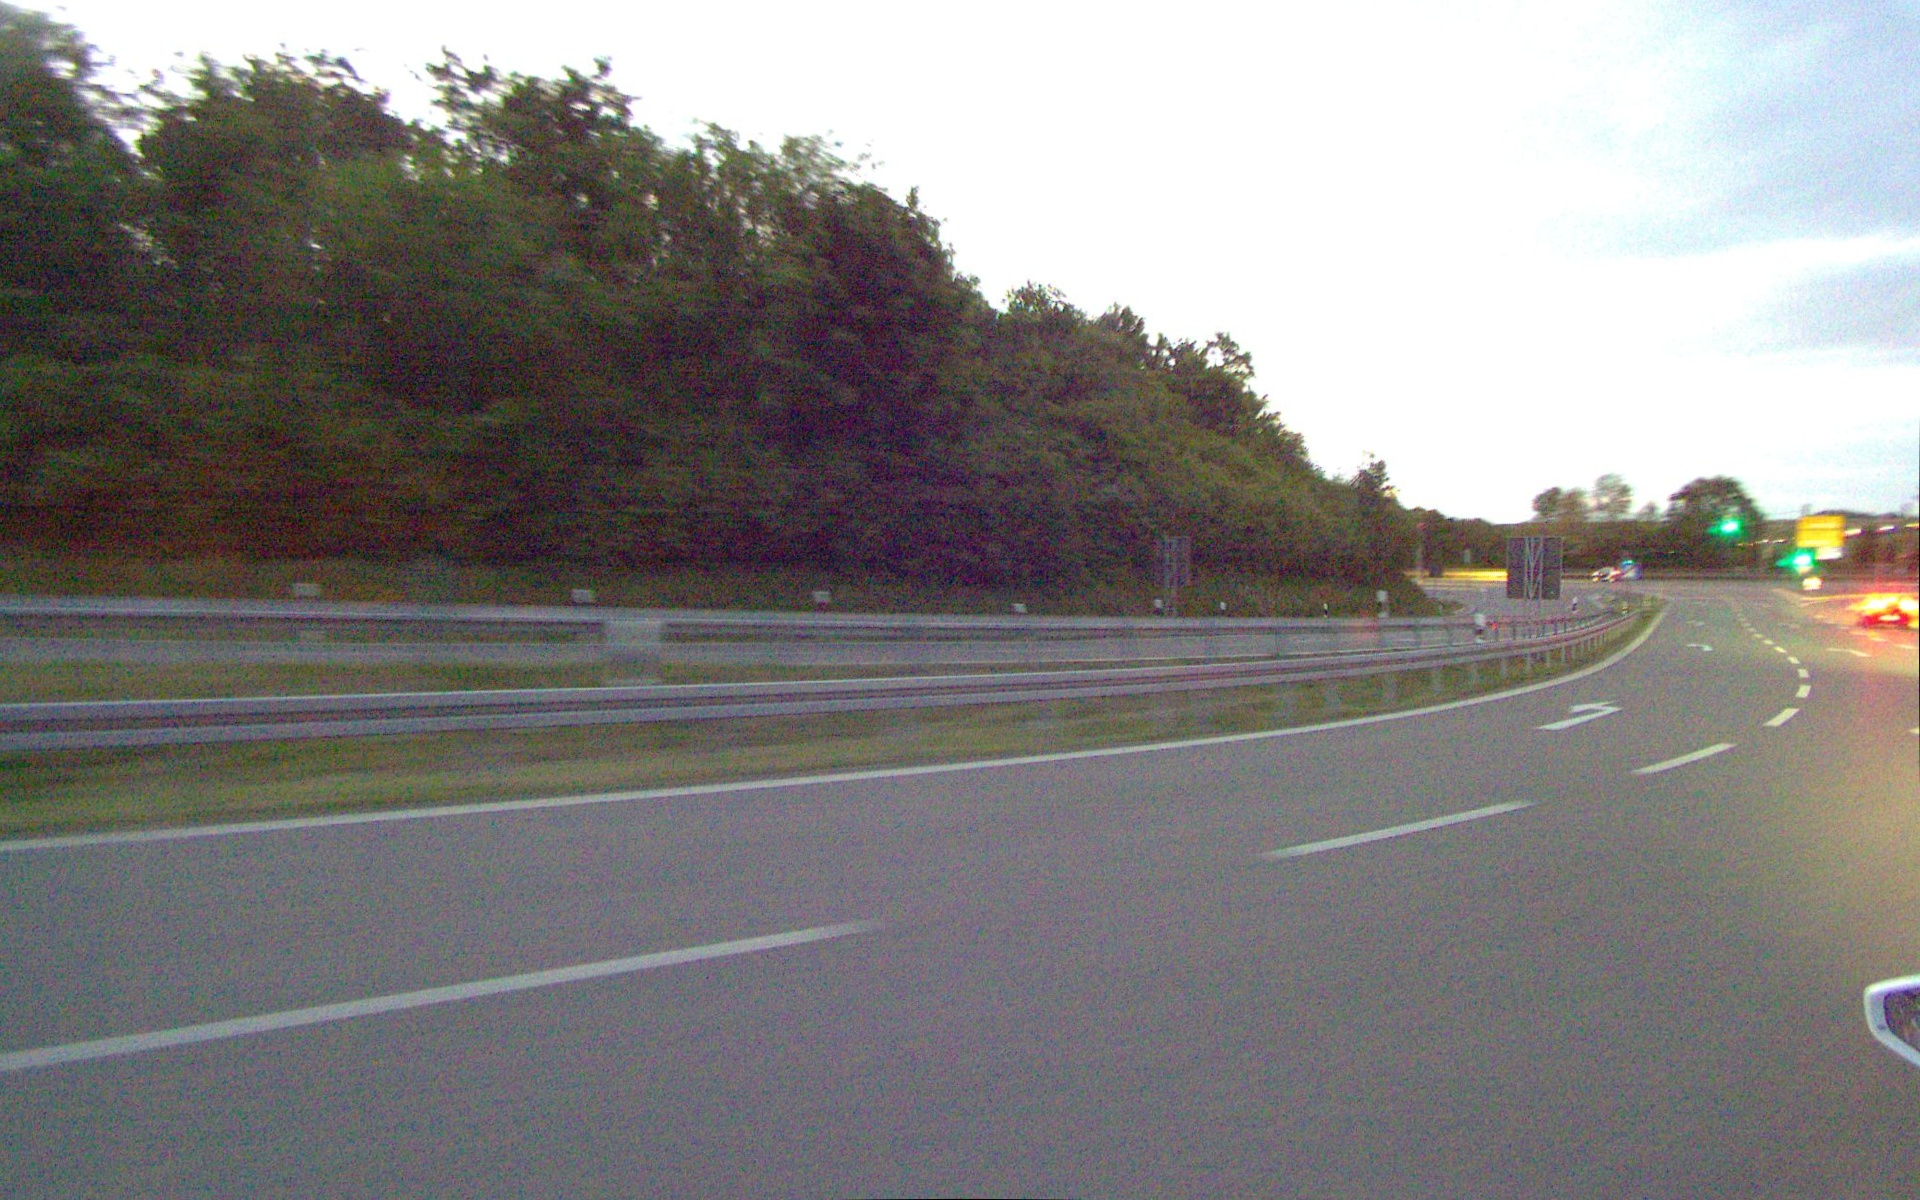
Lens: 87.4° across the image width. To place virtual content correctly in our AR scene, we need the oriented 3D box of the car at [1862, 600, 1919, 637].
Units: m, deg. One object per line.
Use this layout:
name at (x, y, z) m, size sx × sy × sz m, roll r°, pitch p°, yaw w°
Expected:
car at (45.540, 0.892, 49.178) m, size 1.759 × 1.675 × 3.983 m, roll 2°, pitch 0°, yaw 39°
